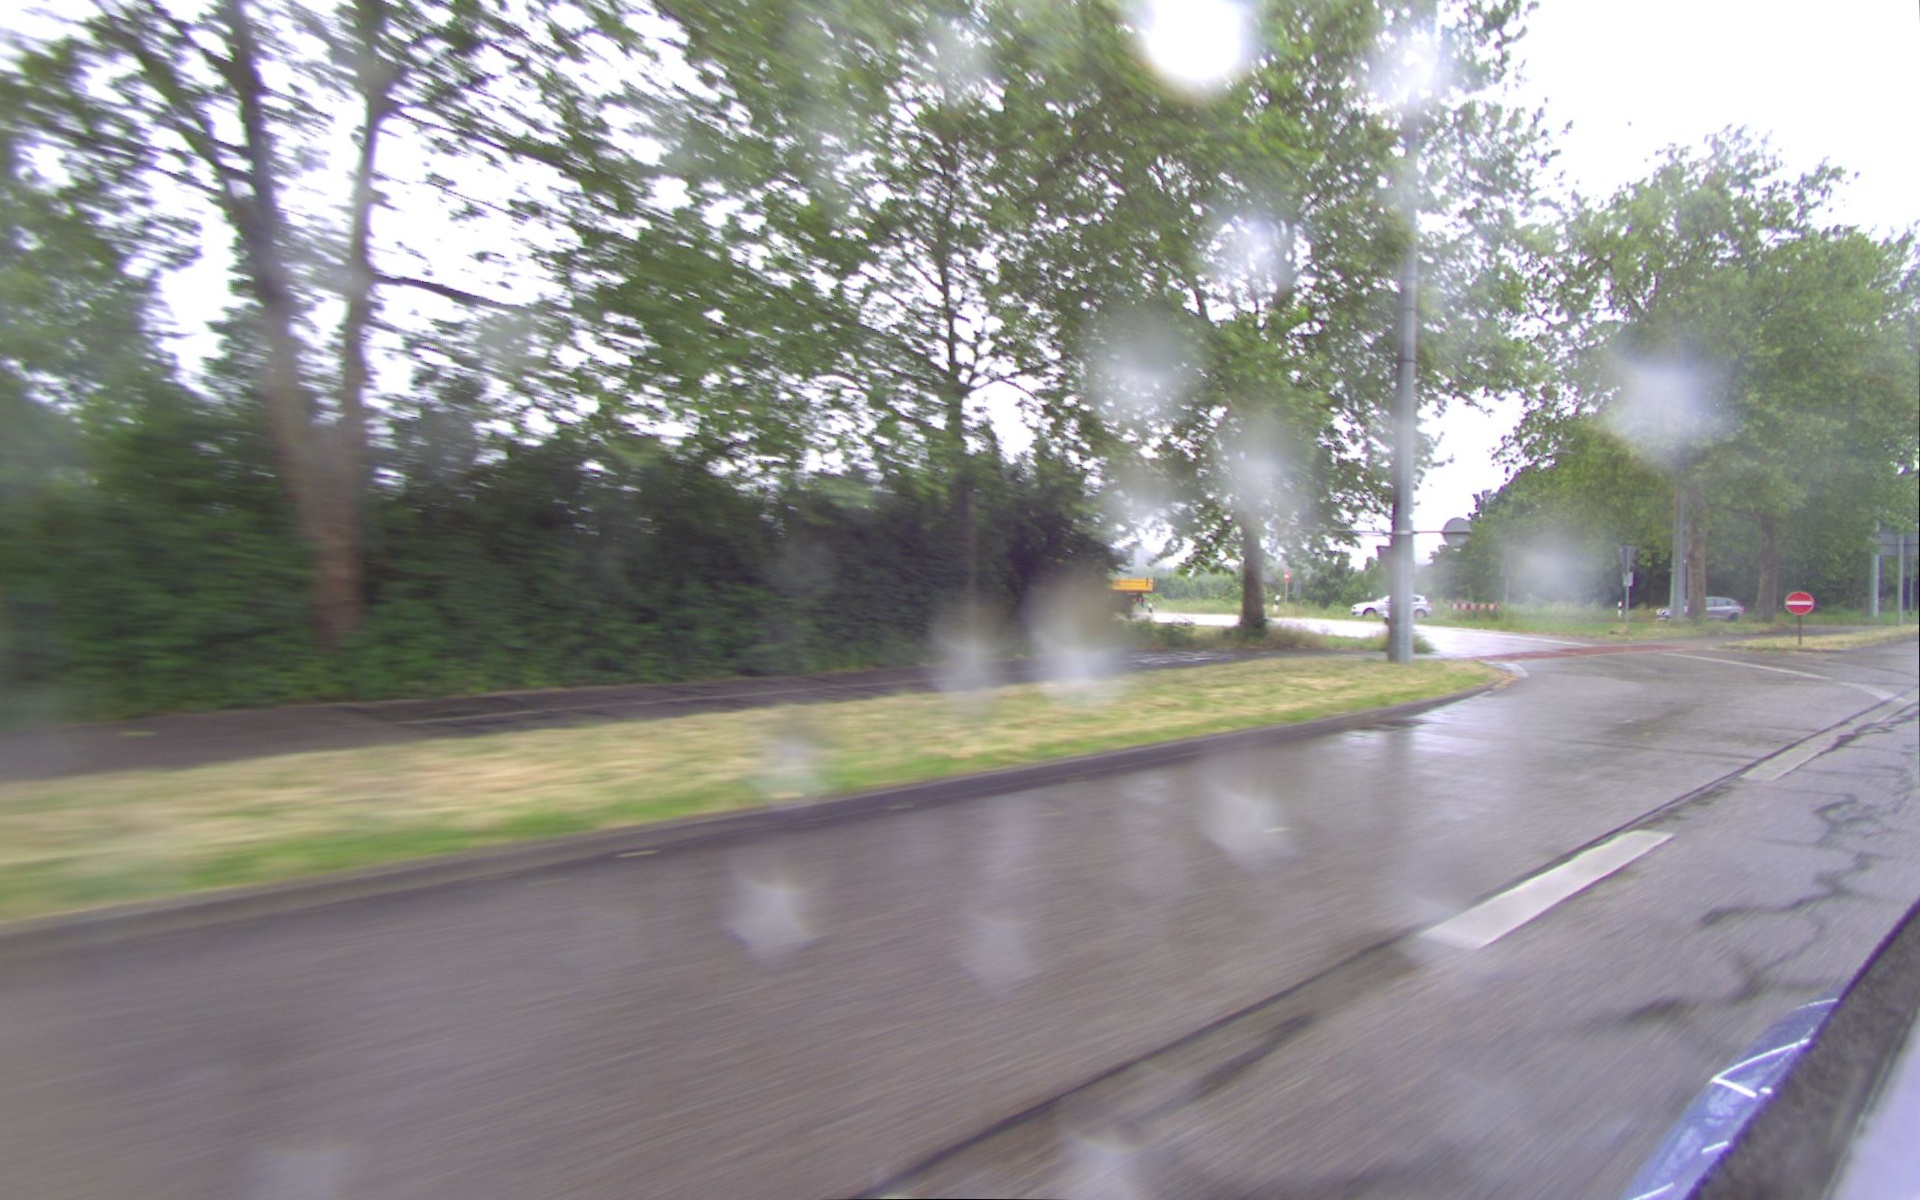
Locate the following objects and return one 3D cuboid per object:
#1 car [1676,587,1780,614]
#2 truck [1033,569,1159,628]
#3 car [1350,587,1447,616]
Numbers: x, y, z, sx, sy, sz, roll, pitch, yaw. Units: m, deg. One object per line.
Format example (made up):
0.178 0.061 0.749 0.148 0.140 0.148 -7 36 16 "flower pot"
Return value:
41.046 0.046 54.141 4.193 1.374 1.895 1 0 -3 "car"
7.907 -0.108 59.227 6.868 3.299 2.539 1 -1 28 "truck"
23.823 0.084 55.115 4.531 1.522 1.627 1 -1 10 "car"
